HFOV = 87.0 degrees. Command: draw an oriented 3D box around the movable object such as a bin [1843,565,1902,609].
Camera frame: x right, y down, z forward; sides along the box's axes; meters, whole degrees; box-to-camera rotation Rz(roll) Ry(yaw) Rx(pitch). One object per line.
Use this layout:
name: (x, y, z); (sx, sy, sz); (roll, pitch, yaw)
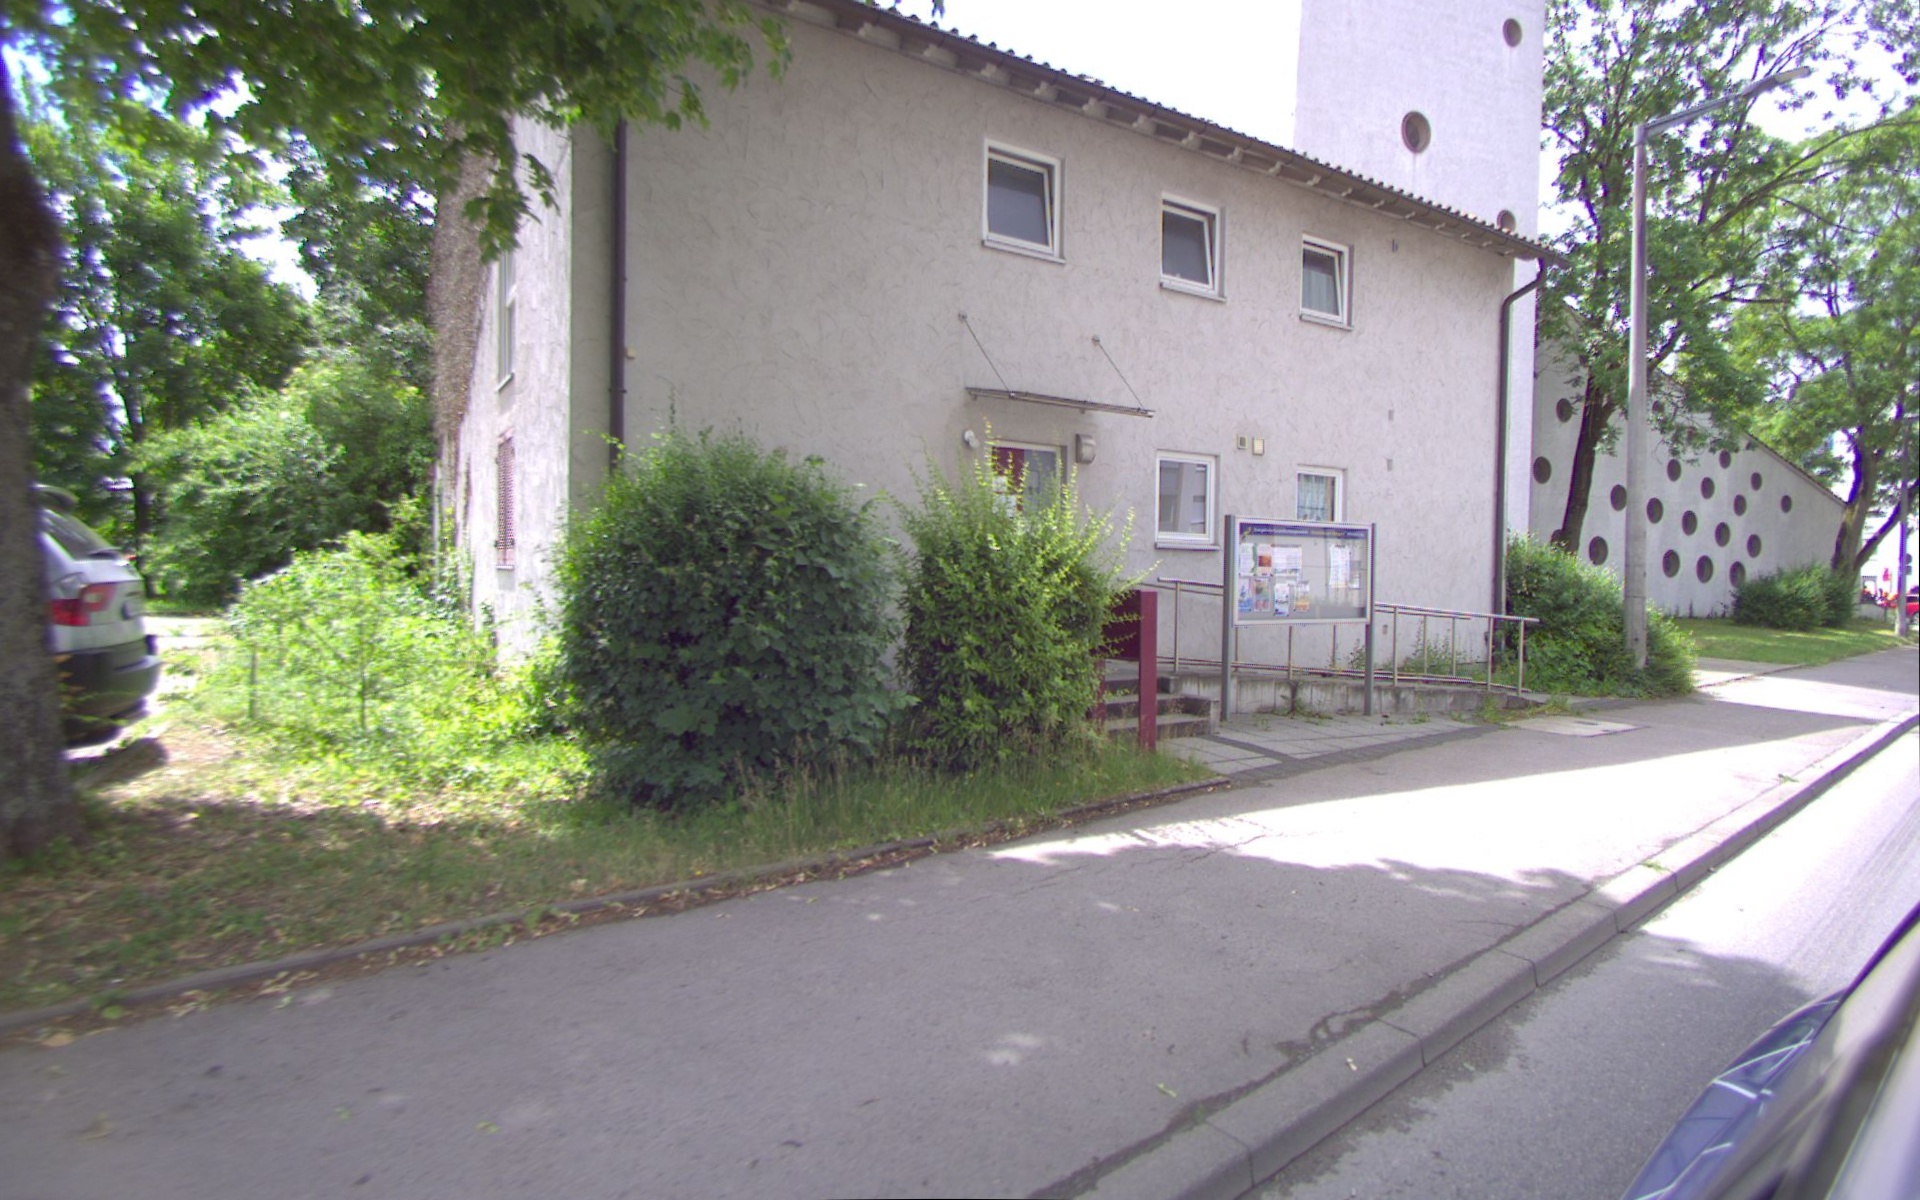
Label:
movable object such as a bin: (54.959, -0.797, 61.002); (1.295, 2.626, 2.364); (0, 1, -2)

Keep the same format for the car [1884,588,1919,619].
car: (52.164, 0.171, 54.418); (1.821, 1.638, 4.224); (0, 0, 13)

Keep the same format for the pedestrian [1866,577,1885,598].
pedestrian: (54.611, -0.743, 60.385); (0.540, 1.231, 0.618); (1, 1, -2)

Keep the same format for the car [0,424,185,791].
car: (-6.085, -0.003, 4.579); (3.921, 1.670, 1.819); (0, 2, -32)

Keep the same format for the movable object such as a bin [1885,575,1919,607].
movable object such as a bin: (61.379, -0.547, 64.486); (1.960, 2.038, 2.971); (1, 1, -4)

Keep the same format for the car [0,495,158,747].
car: (-7.619, 0.104, 6.395); (3.926, 1.603, 1.817); (0, 2, -37)
